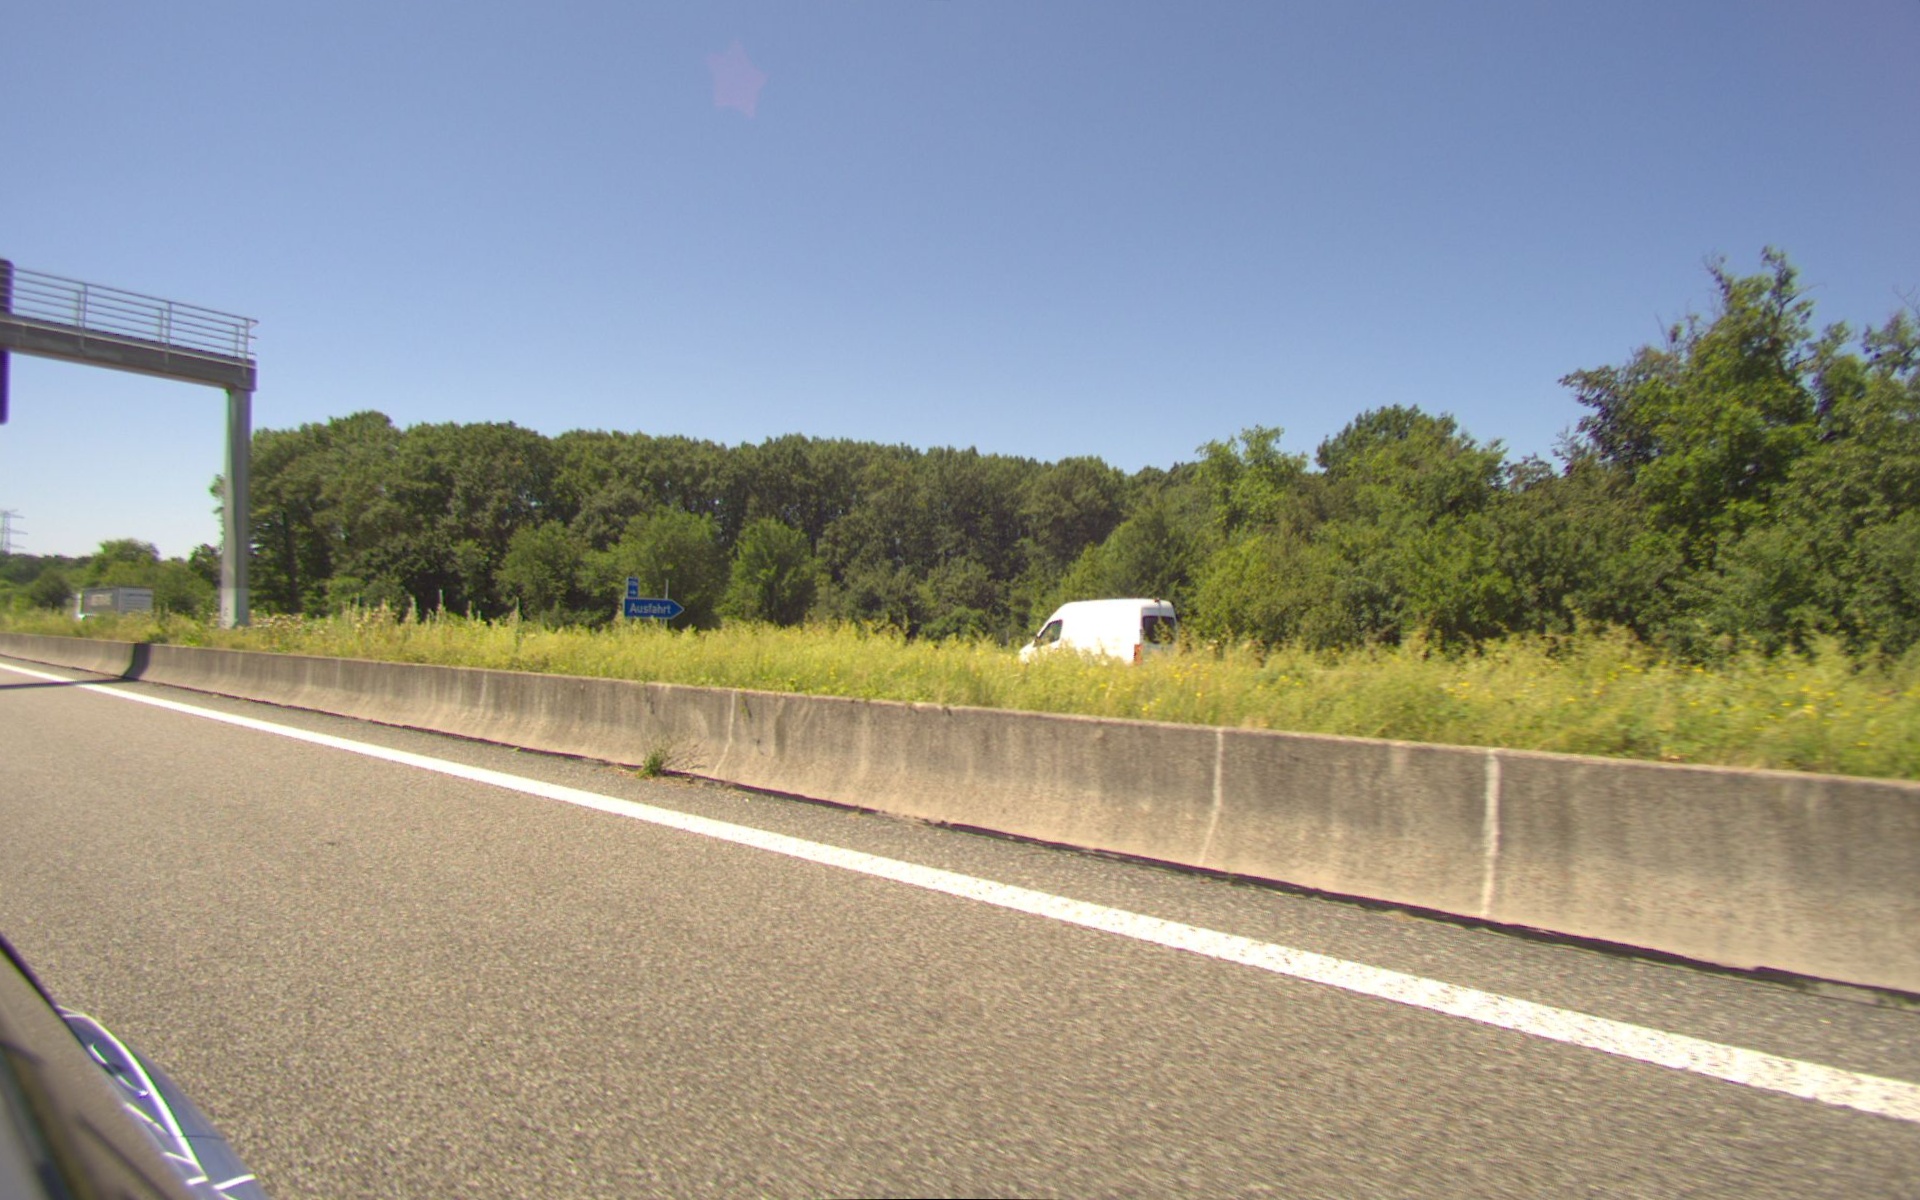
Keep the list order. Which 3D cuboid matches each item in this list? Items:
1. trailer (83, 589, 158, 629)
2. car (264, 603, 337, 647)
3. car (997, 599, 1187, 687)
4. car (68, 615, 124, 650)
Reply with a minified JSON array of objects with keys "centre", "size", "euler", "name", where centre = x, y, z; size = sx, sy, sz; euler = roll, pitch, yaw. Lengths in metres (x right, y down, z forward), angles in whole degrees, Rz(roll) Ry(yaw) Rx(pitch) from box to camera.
[{"centre":[-72.215,0.793,86.936],"size":[11.114,3.210,2.939],"euler":[-1,0,40],"name":"trailer"},{"centre":[-31.269,1.162,47.927],"size":[4.000,2.029,1.972],"euler":[-1,-1,43],"name":"car"},{"centre":[3.746,1.186,29.652],"size":[1.970,2.334,5.549],"euler":[0,-1,-43],"name":"car"},{"centre":[-51.993,1.923,60.883],"size":[4.542,2.029,1.973],"euler":[-1,-1,41],"name":"car"}]
